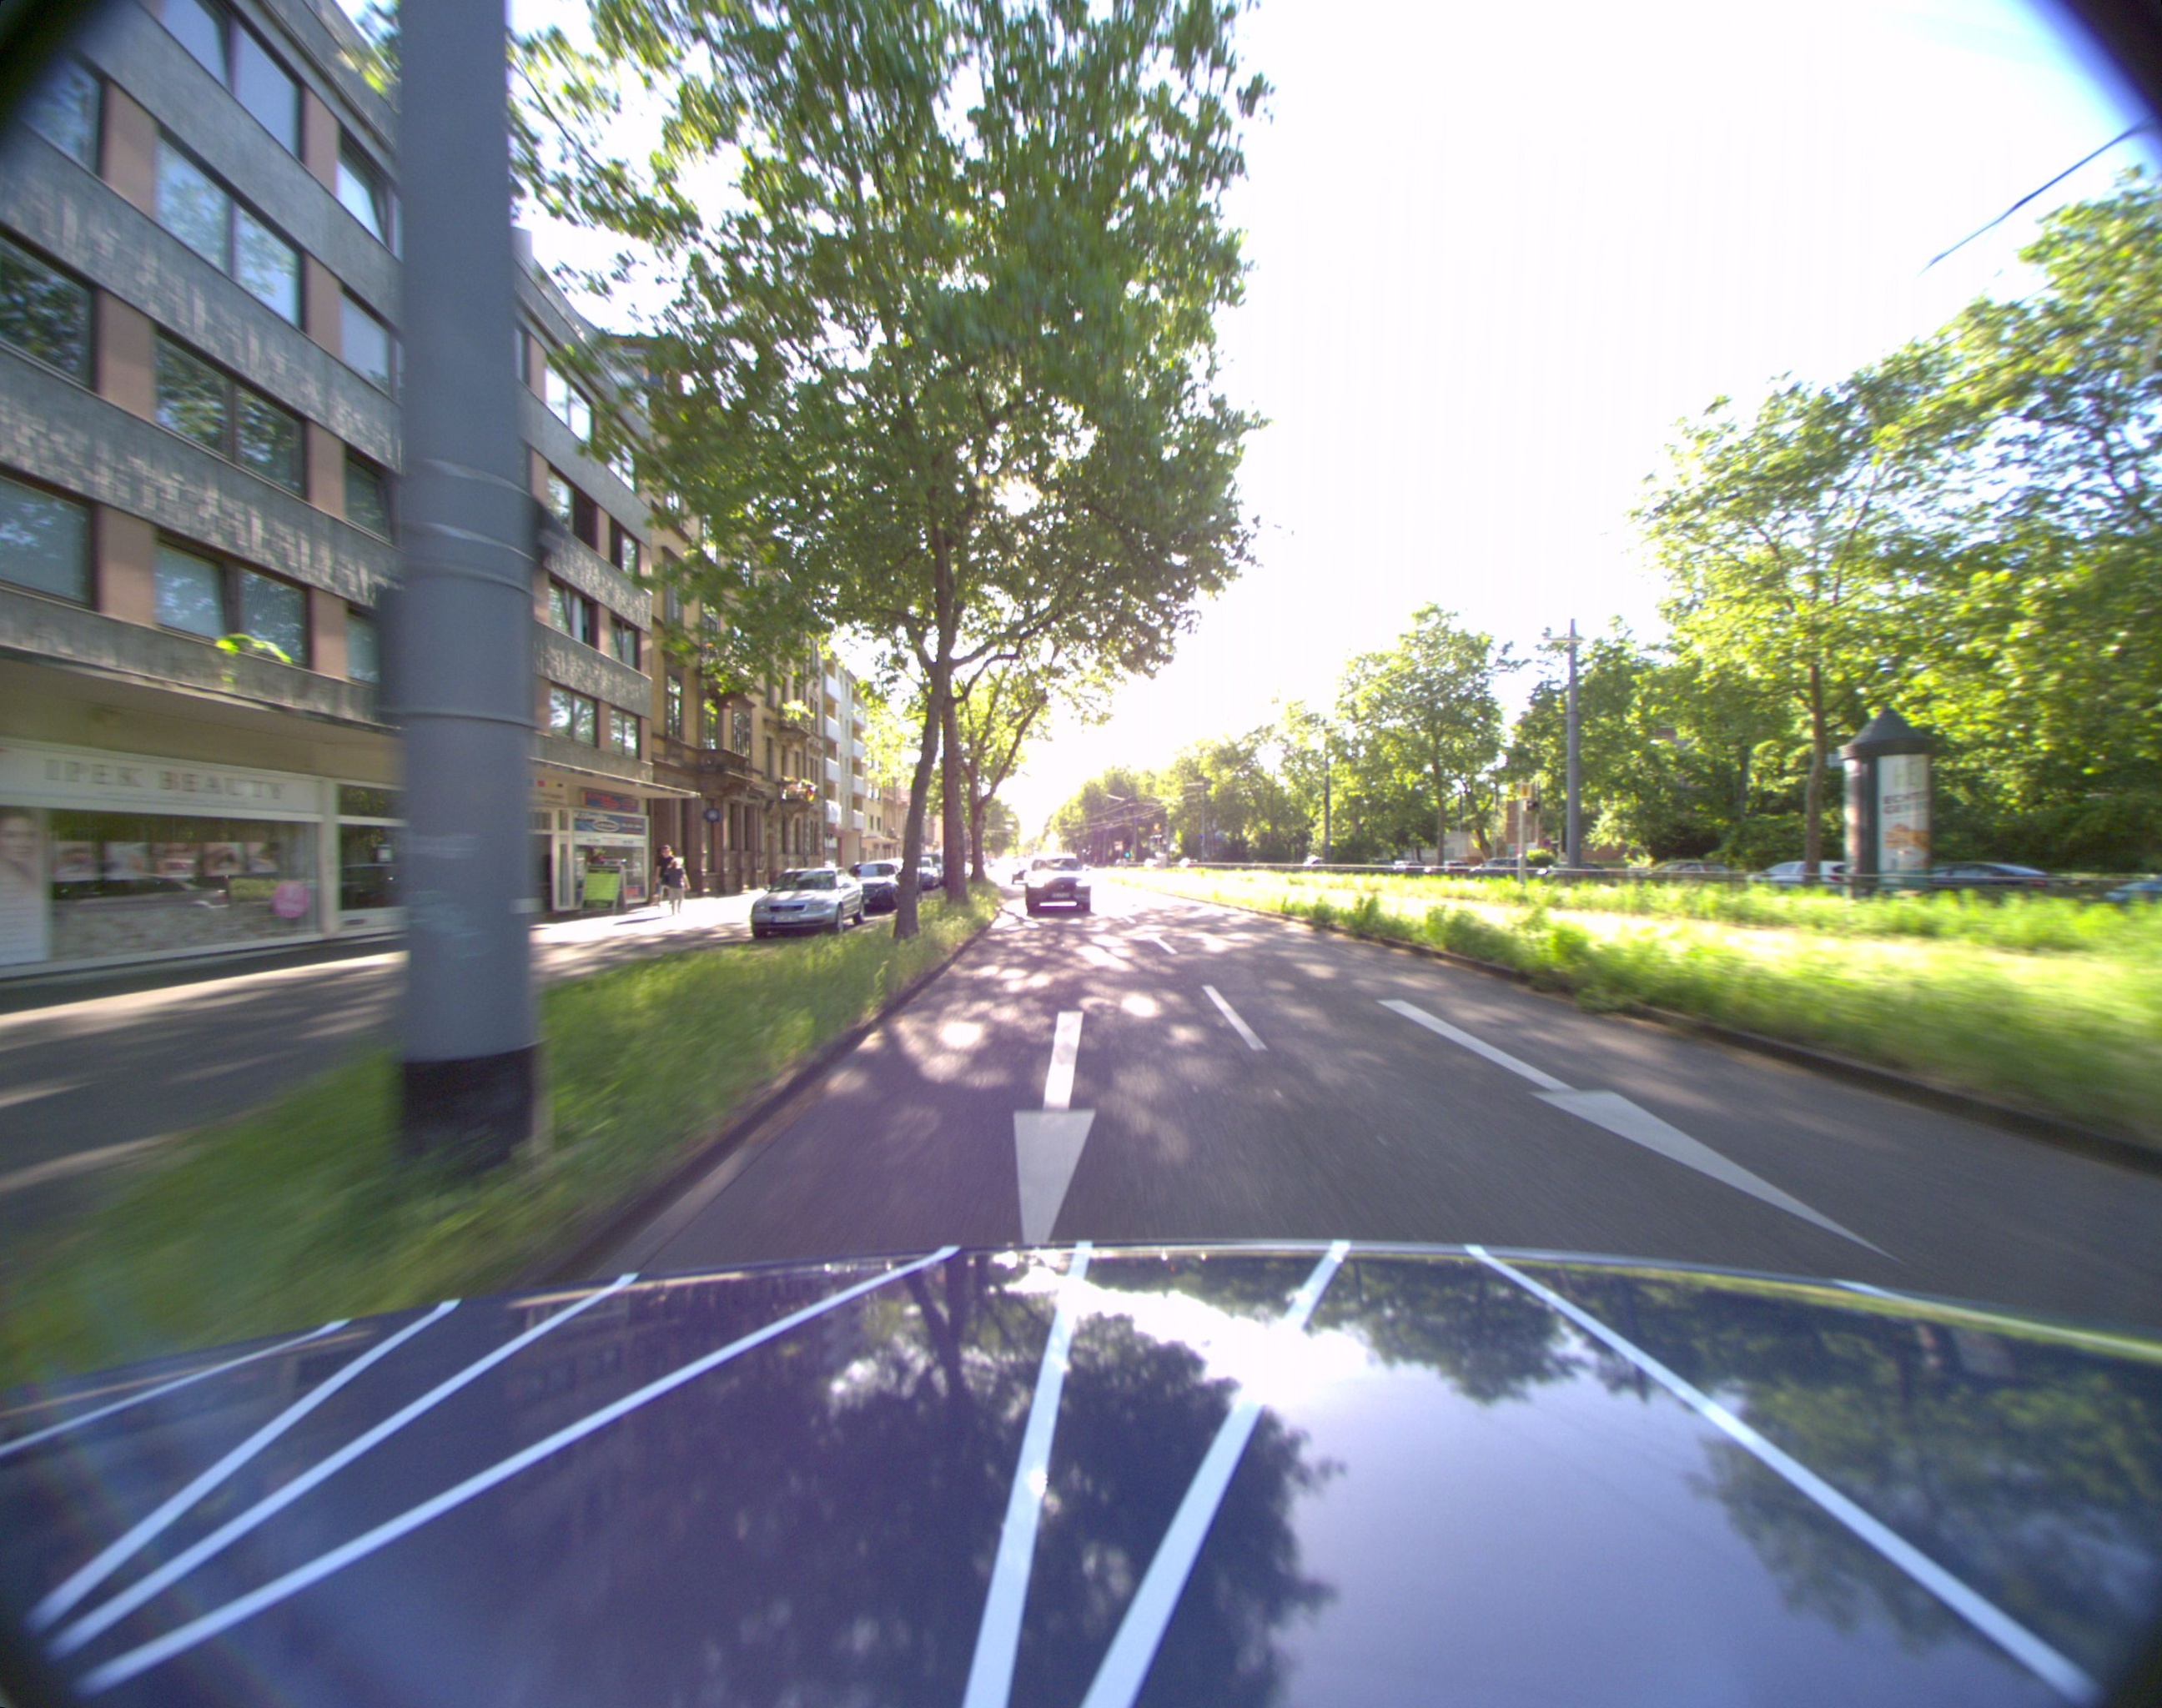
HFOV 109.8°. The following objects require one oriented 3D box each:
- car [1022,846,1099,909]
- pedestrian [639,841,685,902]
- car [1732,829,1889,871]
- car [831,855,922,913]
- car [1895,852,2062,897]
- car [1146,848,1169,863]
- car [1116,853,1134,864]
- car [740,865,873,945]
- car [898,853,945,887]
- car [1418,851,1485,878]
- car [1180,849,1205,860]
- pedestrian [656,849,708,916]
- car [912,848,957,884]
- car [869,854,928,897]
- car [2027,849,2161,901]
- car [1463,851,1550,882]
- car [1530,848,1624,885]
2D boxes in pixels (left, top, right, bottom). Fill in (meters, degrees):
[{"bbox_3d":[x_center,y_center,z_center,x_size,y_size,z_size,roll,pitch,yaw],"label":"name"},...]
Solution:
[{"bbox_3d":[-0.722,0.658,23.361,1.970,1.664,3.998,-3,0,-6],"label":"car"},{"bbox_3d":[-12.785,0.535,23.198,1.002,1.829,0.715,-1,1,-4],"label":"pedestrian"},{"bbox_3d":[25.892,-0.132,27.148,1.774,1.304,3.778,-3,0,-6],"label":"car"},{"bbox_3d":[-6.301,0.859,23.964,1.811,1.481,4.916,-3,1,-4],"label":"car"},{"bbox_3d":[26.143,0.558,22.258,1.405,1.193,2.843,-1,0,-7],"label":"car"},{"bbox_3d":[8.803,0.158,88.014,1.799,1.543,4.045,-3,0,-5],"label":"car"},{"bbox_3d":[6.401,0.612,111.419,1.850,1.521,3.872,-3,0,-8],"label":"car"},{"bbox_3d":[-5.913,1.013,16.920,1.706,1.416,4.514,-3,0,-6],"label":"car"},{"bbox_3d":[-7.743,0.738,37.136,1.709,1.494,4.355,-3,1,-5],"label":"car"},{"bbox_3d":[24.149,0.649,49.723,2.000,1.612,3.997,-3,0,-8],"label":"car"},{"bbox_3d":[12.085,0.056,82.434,1.694,1.128,4.704,-3,0,-4],"label":"car"},{"bbox_3d":[-11.003,0.772,20.978,1.002,1.750,0.715,-3,1,-5],"label":"pedestrian"},{"bbox_3d":[-8.082,0.635,42.418,1.870,1.805,4.797,-3,0,-5],"label":"car"},{"bbox_3d":[-7.239,0.805,30.575,1.682,1.458,4.666,-3,1,-6],"label":"car"},{"bbox_3d":[26.934,0.507,18.856,1.797,1.171,3.997,-3,1,-6],"label":"car"},{"bbox_3d":[24.659,0.694,44.238,2.000,1.674,4.511,-3,0,-8],"label":"car"},{"bbox_3d":[25.240,0.609,38.852,1.827,1.674,3.997,-3,0,-7],"label":"car"}]
